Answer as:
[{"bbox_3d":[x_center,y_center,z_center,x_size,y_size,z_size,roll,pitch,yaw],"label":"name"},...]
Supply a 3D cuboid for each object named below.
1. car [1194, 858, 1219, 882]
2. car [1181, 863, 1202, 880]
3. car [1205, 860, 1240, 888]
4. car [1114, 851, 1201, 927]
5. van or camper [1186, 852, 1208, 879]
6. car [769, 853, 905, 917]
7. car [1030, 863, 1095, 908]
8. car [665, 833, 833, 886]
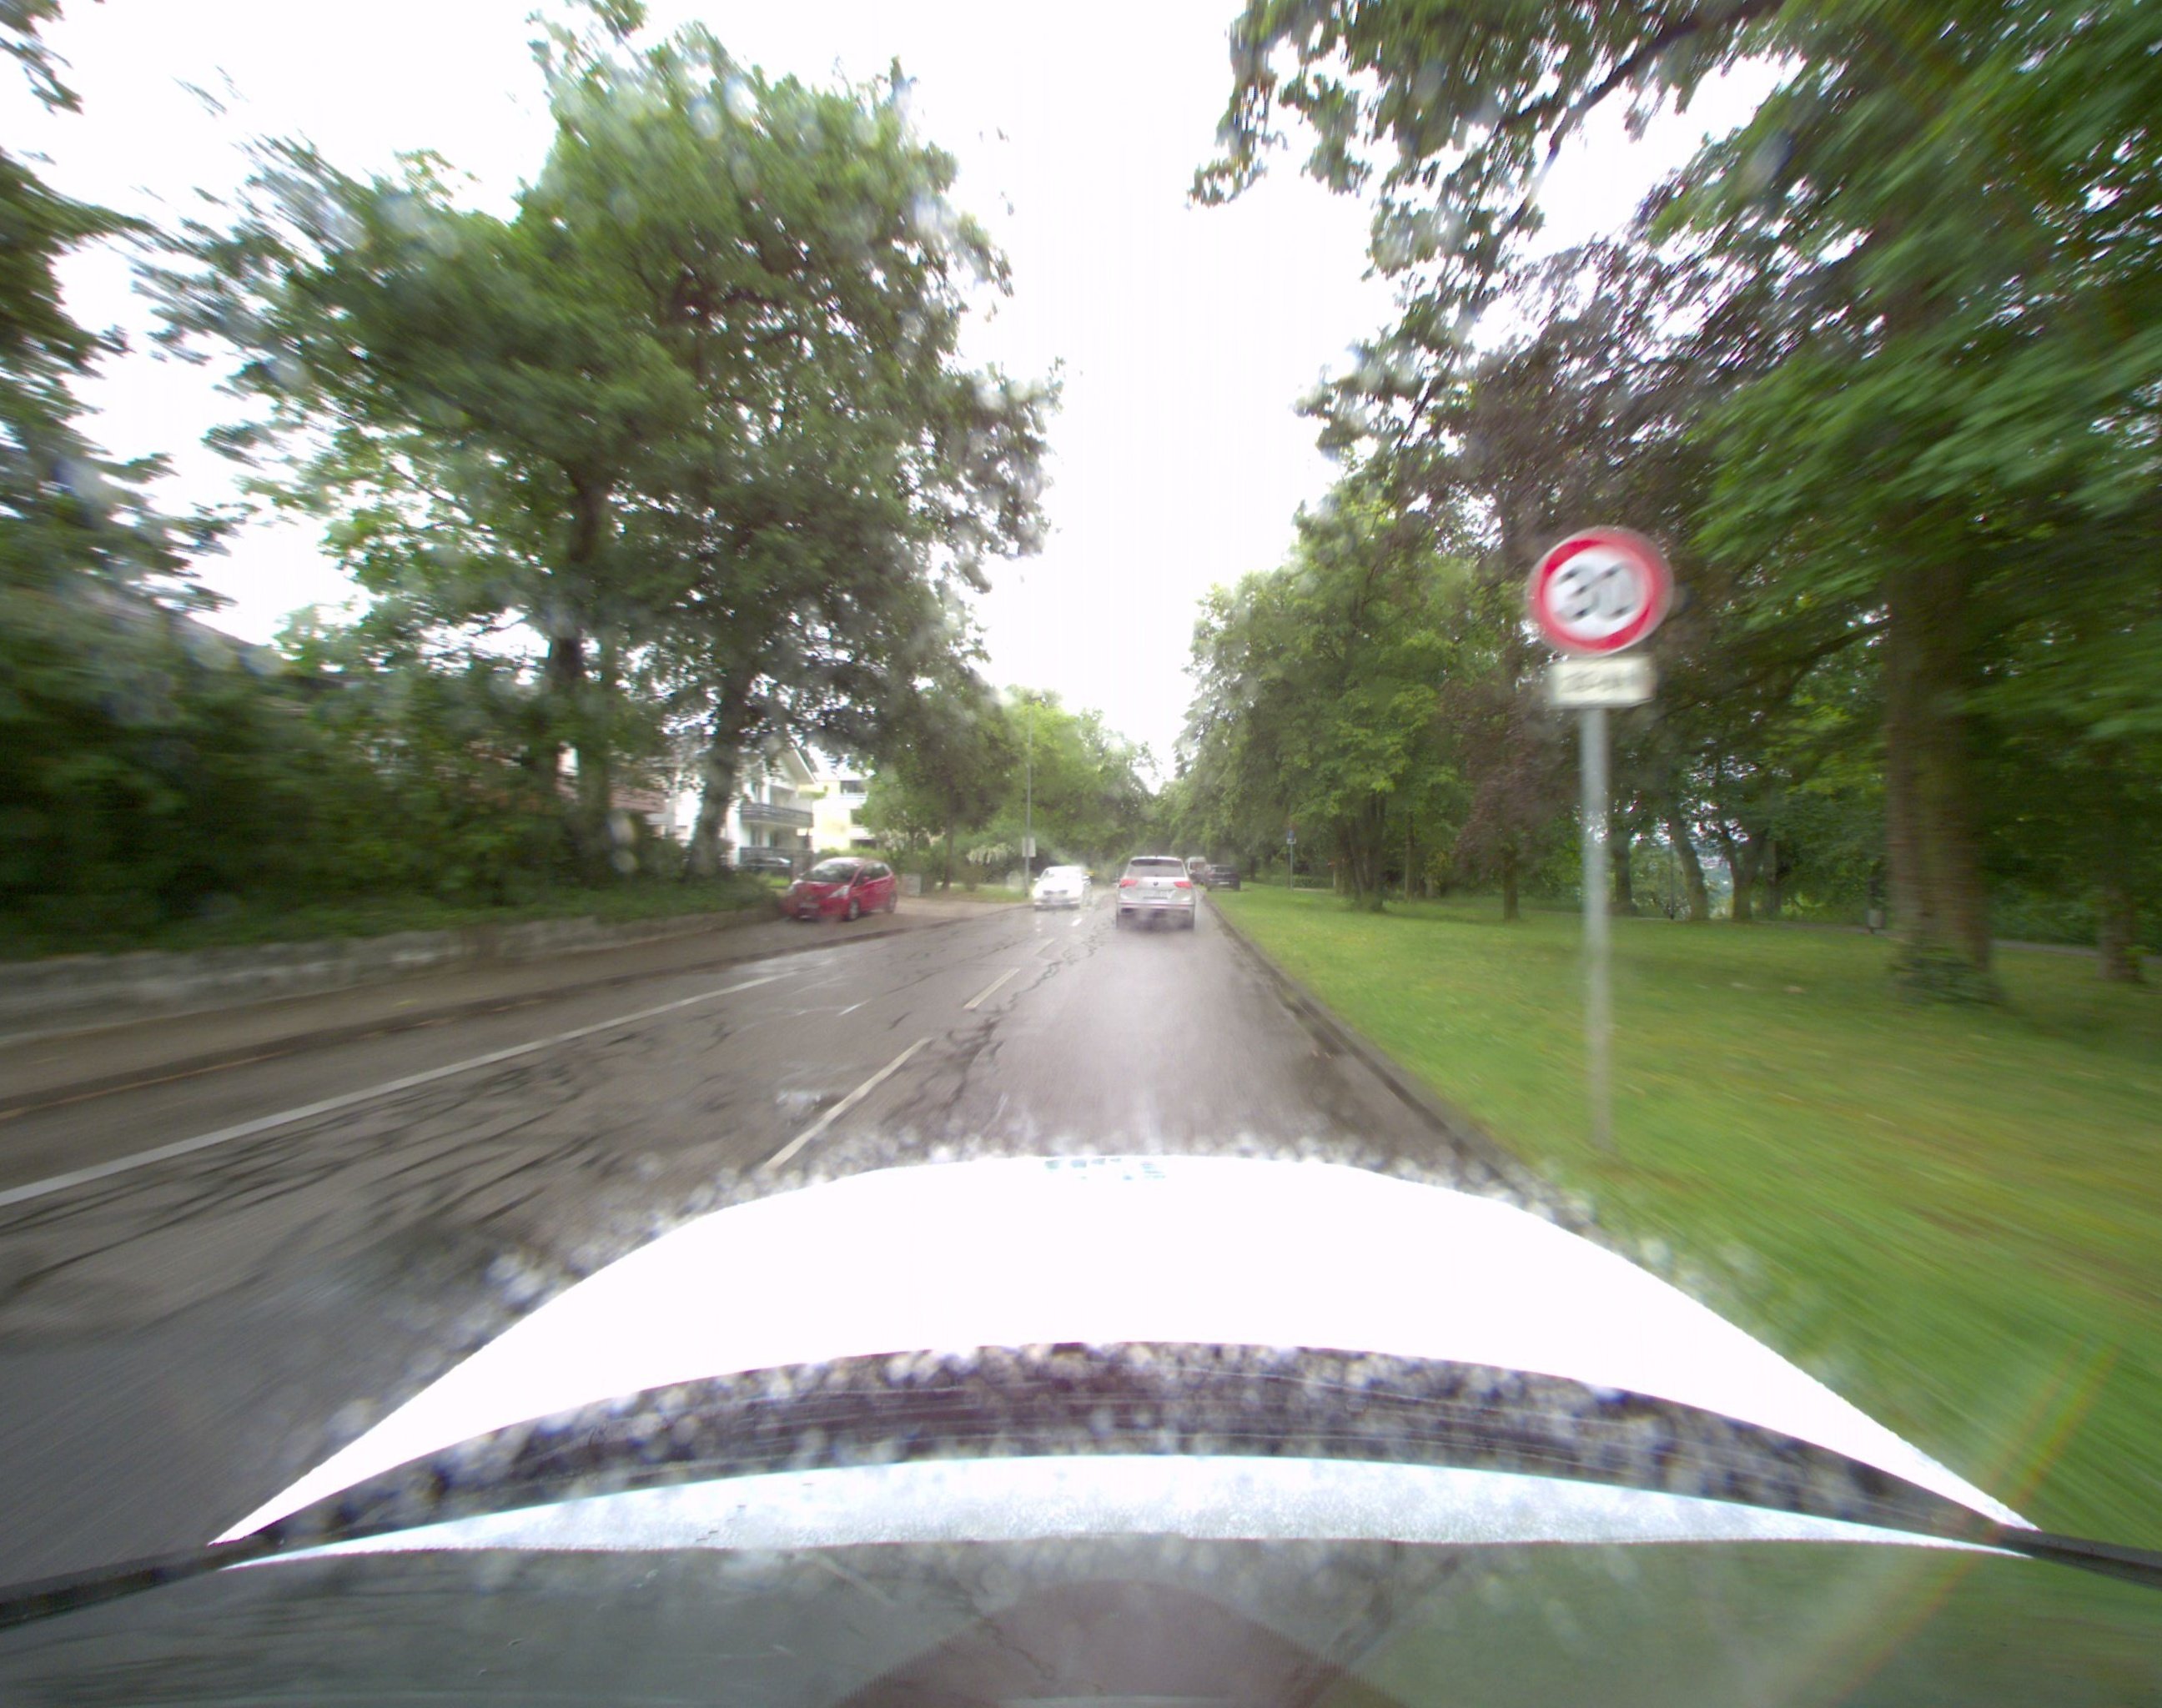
[{"bbox_3d":[9.635,1.211,62.705,1.771,1.719,4.270,-1,-1,8],"label":"car"},{"bbox_3d":[10.161,1.554,74.690,1.855,1.511,3.732,-1,-1,8],"label":"car"},{"bbox_3d":[7.709,1.085,44.576,1.691,1.462,4.225,-2,-1,7],"label":"car"},{"bbox_3d":[1.851,0.779,20.043,1.896,1.685,4.206,0,0,5],"label":"car"},{"bbox_3d":[11.855,1.170,83.260,2.005,2.583,8.454,1,-1,8],"label":"van or camper"},{"bbox_3d":[-6.284,0.743,21.481,1.983,1.516,4.007,0,0,6],"label":"car"},{"bbox_3d":[-0.582,1.041,28.357,1.692,1.410,4.015,-2,-1,6],"label":"car"},{"bbox_3d":[-14.151,0.233,35.137,5.725,2.038,3.479,2,0,0],"label":"car"}]
